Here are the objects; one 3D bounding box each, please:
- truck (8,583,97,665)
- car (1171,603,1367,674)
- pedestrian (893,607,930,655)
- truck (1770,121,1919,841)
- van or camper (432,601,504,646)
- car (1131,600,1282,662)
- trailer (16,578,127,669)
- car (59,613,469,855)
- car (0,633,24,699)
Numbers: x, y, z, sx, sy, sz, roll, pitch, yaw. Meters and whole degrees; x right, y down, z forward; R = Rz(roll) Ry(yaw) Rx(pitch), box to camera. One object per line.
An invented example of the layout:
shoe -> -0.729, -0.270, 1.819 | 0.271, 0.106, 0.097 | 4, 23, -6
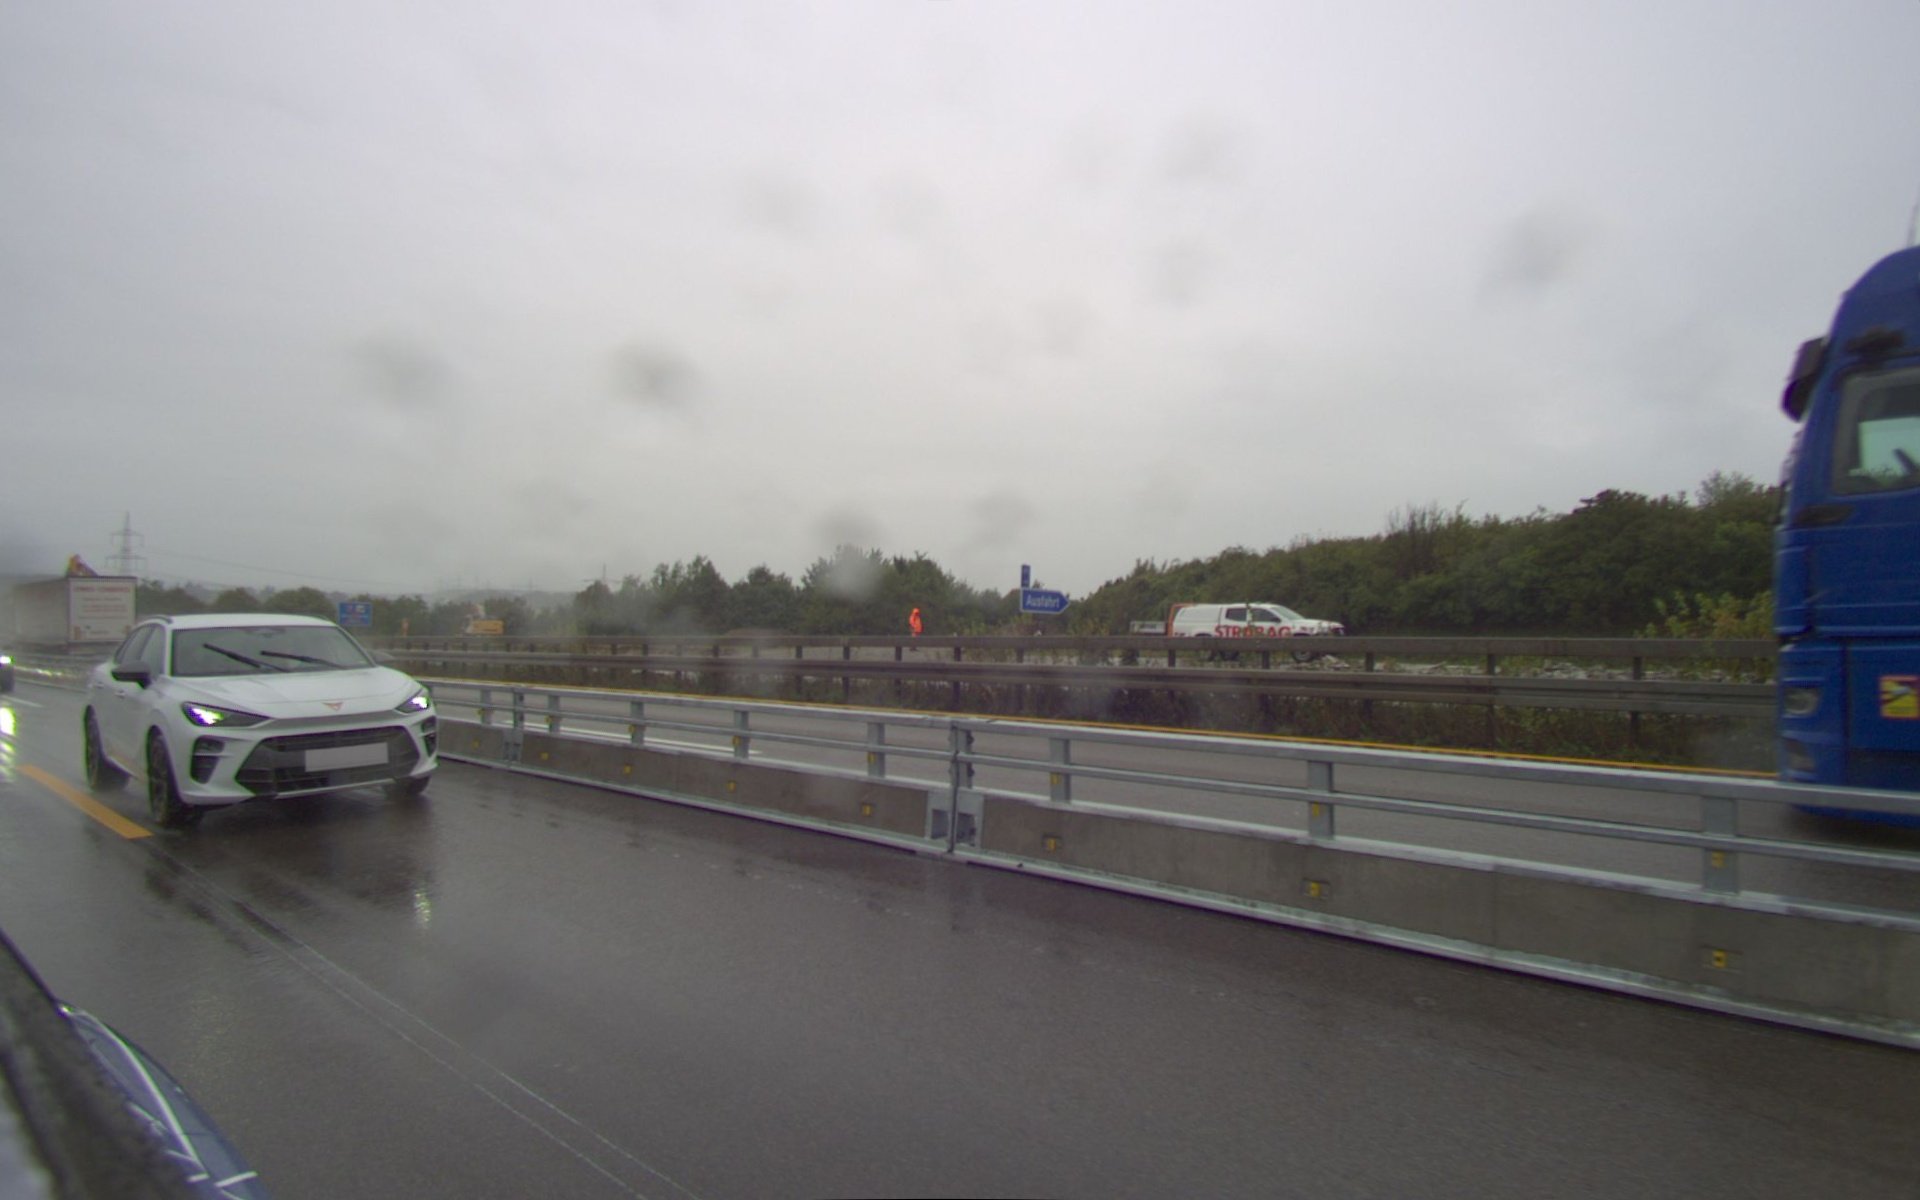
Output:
truck -> -48.037, 1.246, 53.486 | 7.281, 4.078, 2.615 | -2, 0, 41
car -> 9.415, 1.163, 31.116 | 5.362, 1.981, 2.072 | -2, -2, 41
pedestrian -> -2.116, 1.331, 44.219 | 1.125, 2.029, 1.094 | -2, 0, 38
truck -> 8.356, -0.776, 4.882 | 6.668, 4.113, 2.595 | -3, -2, 43
van or camper -> -50.208, 2.377, 103.119 | 8.499, 4.356, 3.333 | -2, 0, 40
car -> 9.076, 1.137, 37.850 | 2.329, 2.092, 5.596 | 0, -1, -28
trailer -> -43.976, 1.155, 49.883 | 11.922, 4.037, 2.585 | -2, 0, 41
car -> -6.359, 0.944, 8.968 | 5.005, 1.562, 1.907 | -2, -2, 42
car -> -26.169, 1.717, 26.437 | 5.194, 1.640, 2.042 | -2, -2, 42
